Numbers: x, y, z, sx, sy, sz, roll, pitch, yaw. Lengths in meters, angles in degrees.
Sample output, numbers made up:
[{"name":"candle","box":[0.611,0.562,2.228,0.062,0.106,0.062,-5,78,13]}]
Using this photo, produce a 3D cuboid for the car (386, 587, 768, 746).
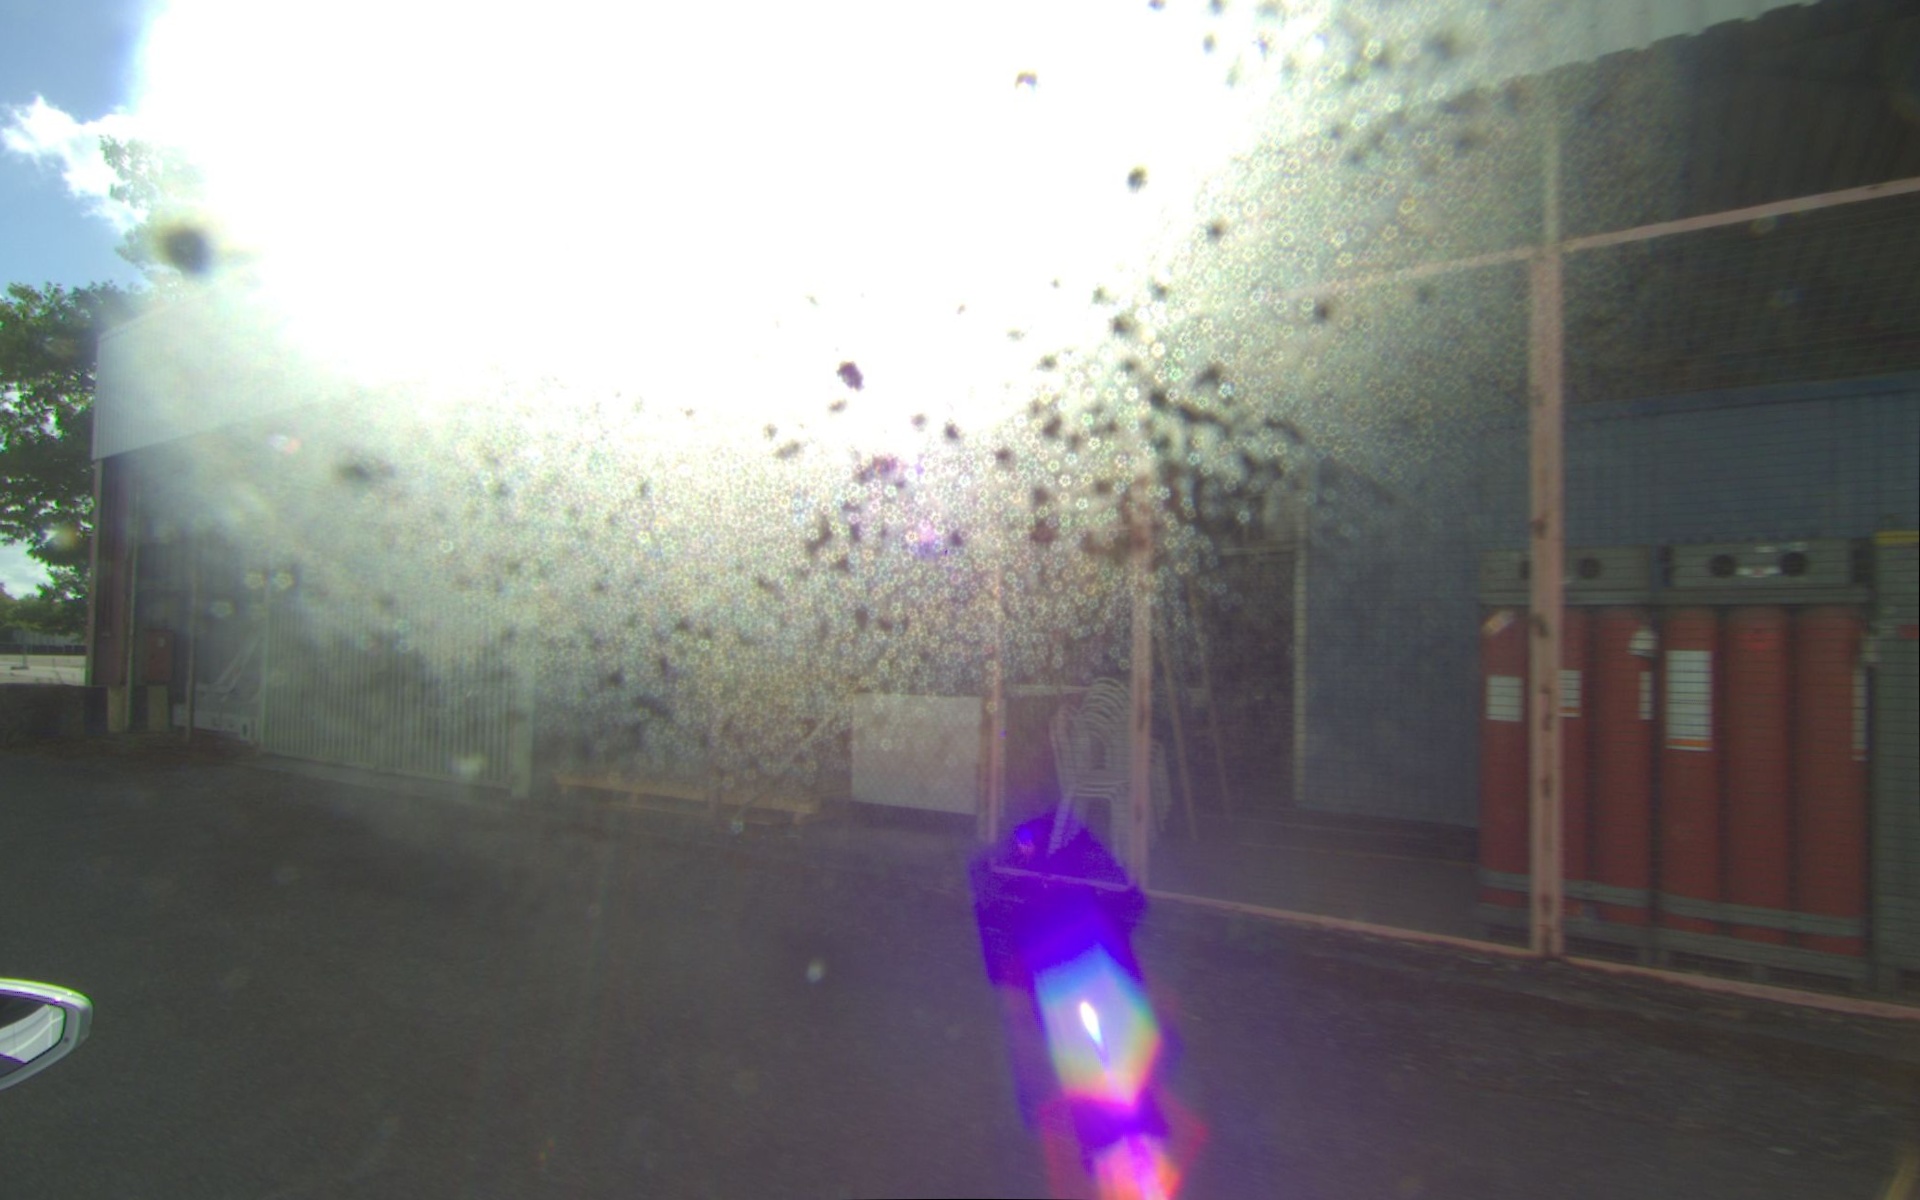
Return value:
[{"name":"car","box":[-5.445,0.984,15.115,2.243,1.942,5.165,-1,-4,28]}]

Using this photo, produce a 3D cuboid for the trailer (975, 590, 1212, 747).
[{"name":"trailer","box":[2.205,1.036,15.920,2.431,2.165,3.396,-1,-3,36]}]

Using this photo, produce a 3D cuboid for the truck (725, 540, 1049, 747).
[{"name":"truck","box":[-0.910,0.718,16.237,2.333,2.740,5.557,0,-3,33]}]
